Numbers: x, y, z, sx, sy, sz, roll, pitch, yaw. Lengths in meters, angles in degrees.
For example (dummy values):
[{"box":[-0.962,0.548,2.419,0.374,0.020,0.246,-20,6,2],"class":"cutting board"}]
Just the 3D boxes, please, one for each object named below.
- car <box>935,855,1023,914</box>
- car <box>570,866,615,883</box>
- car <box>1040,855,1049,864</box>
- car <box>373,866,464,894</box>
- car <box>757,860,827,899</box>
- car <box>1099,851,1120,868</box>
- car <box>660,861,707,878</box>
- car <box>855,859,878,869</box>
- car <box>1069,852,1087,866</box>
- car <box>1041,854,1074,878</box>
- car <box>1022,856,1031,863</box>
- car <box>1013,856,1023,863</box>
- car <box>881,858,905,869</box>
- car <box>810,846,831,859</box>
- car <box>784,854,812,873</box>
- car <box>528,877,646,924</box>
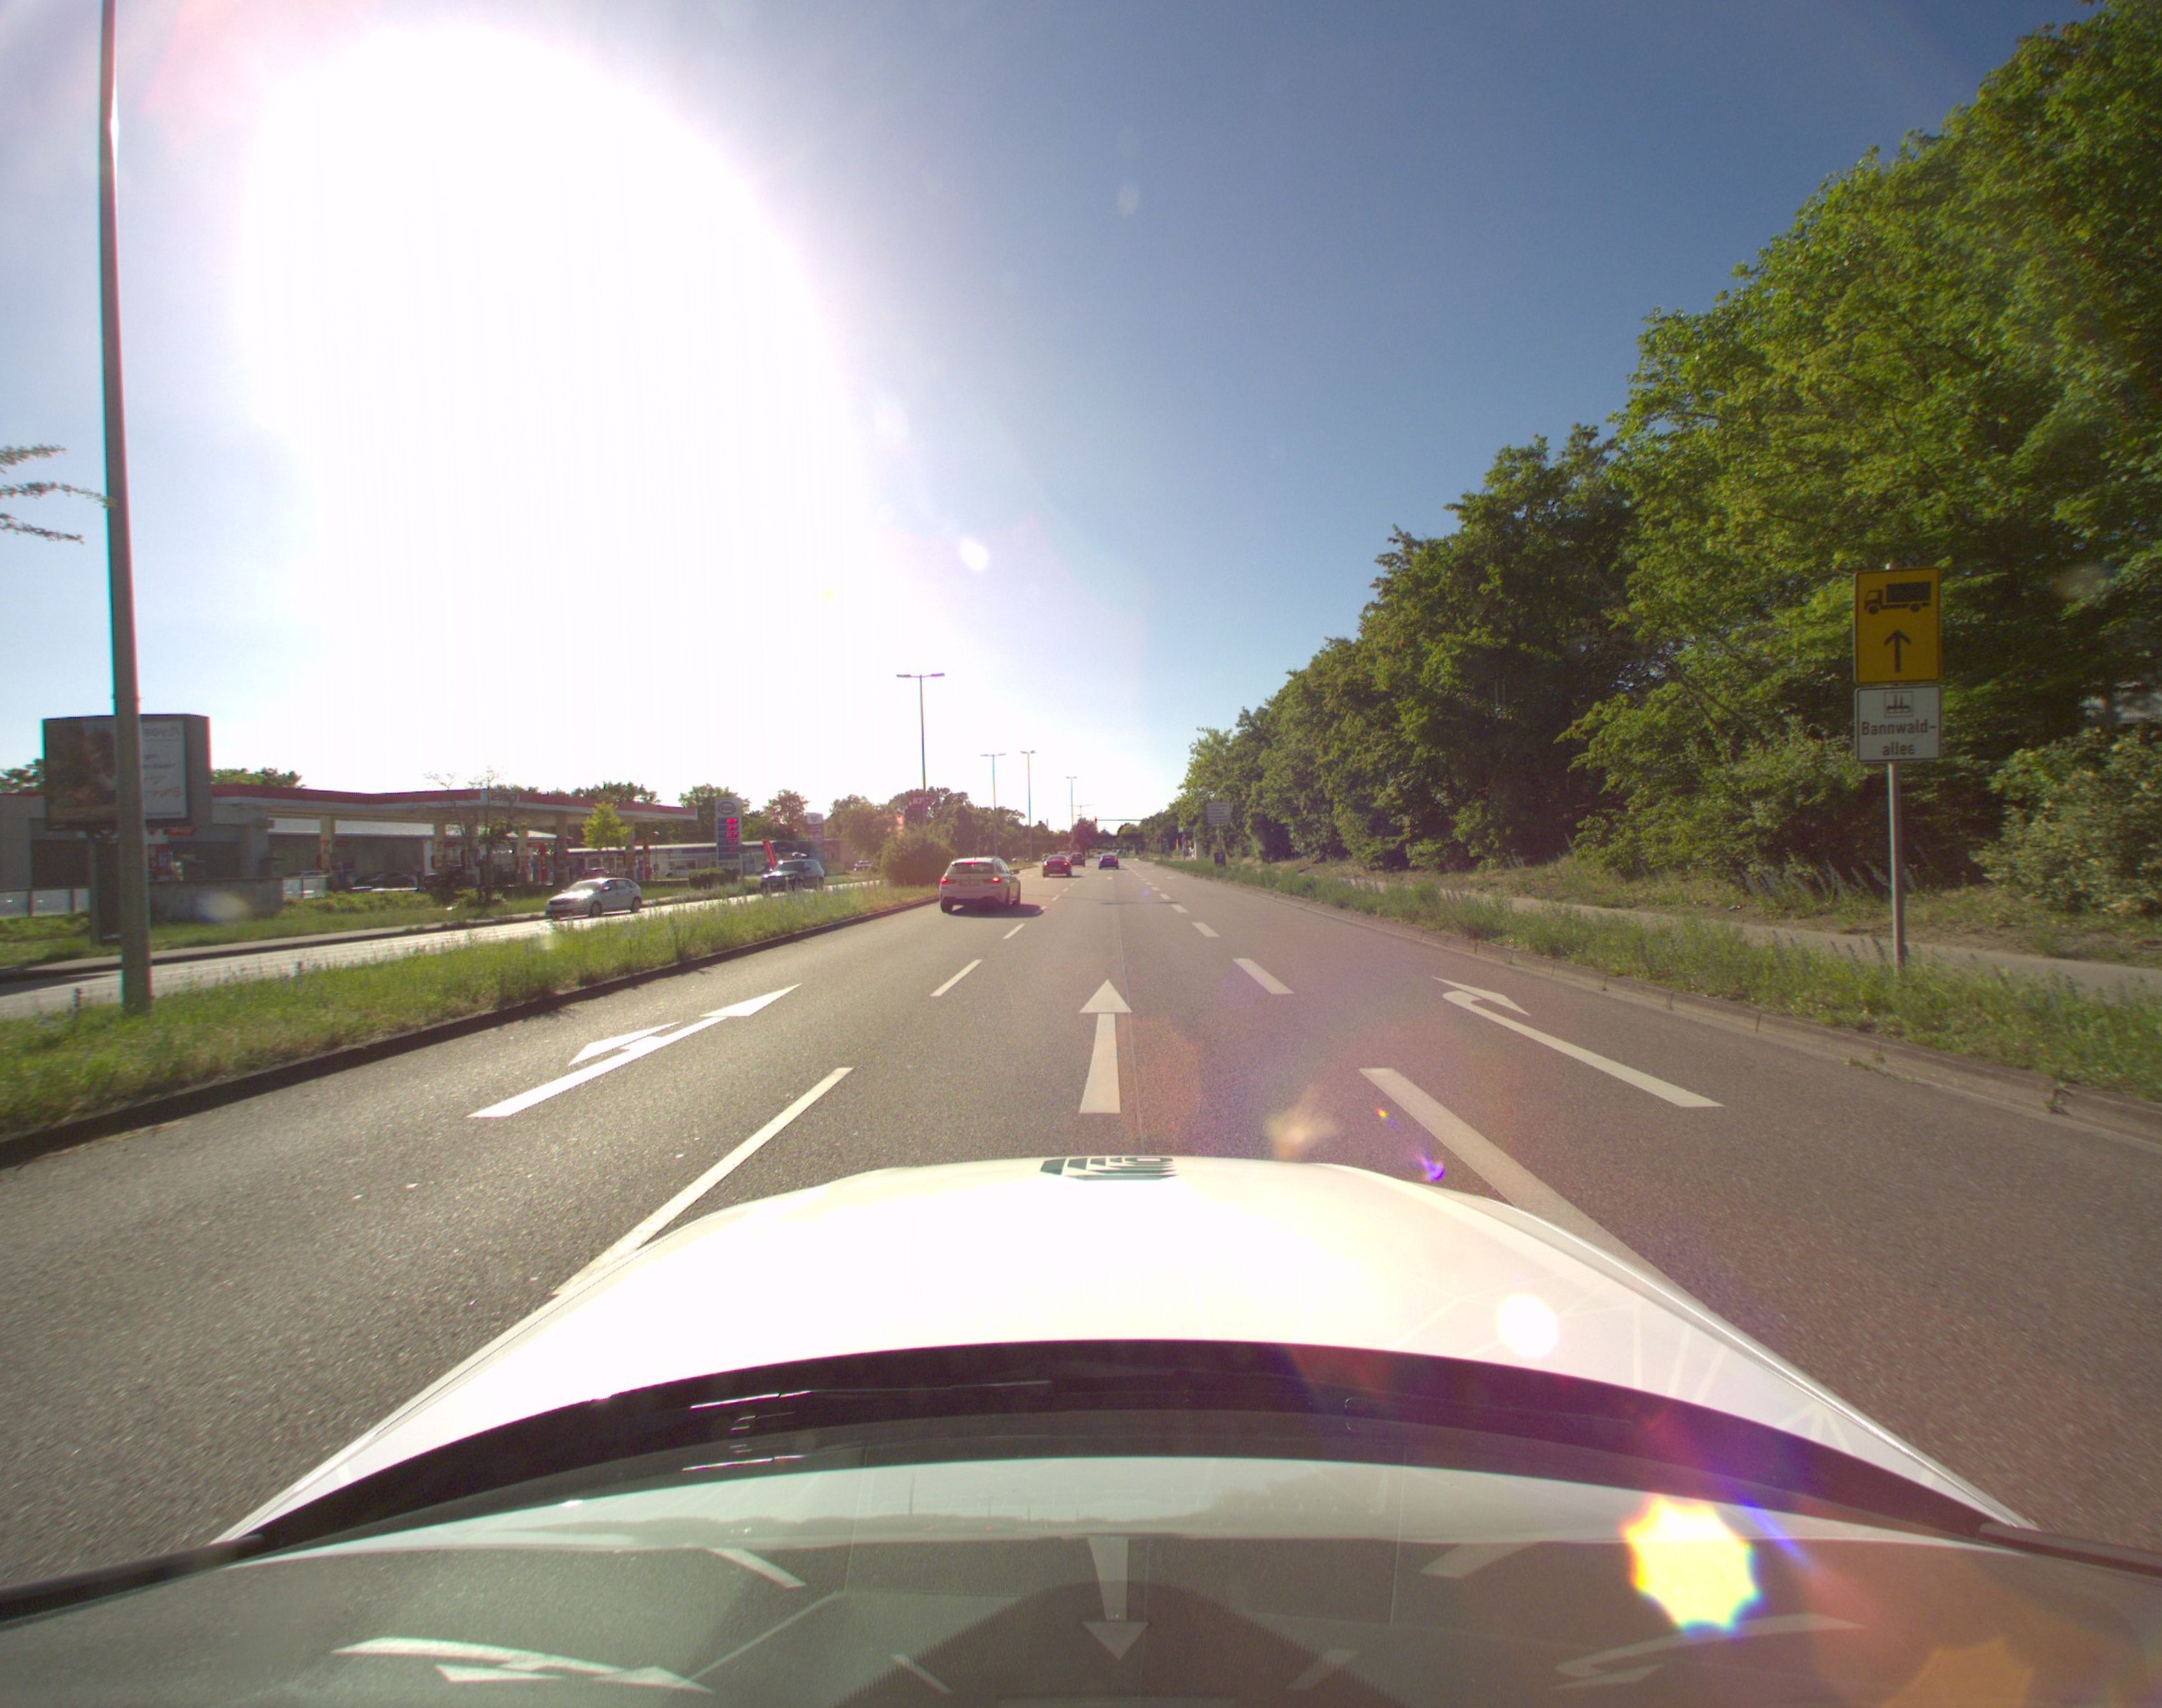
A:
[{"box":[-2.785,0.799,23.248,1.855,1.455,4.548,0,1,1],"class":"car"},{"box":[-49.597,2.106,82.824,1.803,1.550,4.297,-2,0,3],"class":"car"},{"box":[-7.242,1.090,162.792,1.529,1.581,3.673,-2,0,2],"class":"car"},{"box":[-39.647,1.541,48.764,3.964,1.475,2.005,-2,0,8],"class":"car"},{"box":[-15.148,1.291,42.967,1.733,1.802,4.674,-5,0,2],"class":"car"},{"box":[2.714,0.514,77.824,1.855,1.499,4.338,-2,0,2],"class":"car"},{"box":[-46.583,1.760,95.525,4.371,1.842,1.999,-2,0,-1],"class":"car"},{"box":[-37.421,1.749,142.171,4.035,1.783,1.939,-2,0,42],"class":"car"},{"box":[-0.326,0.579,93.112,1.854,1.565,4.549,-1,0,2],"class":"car"},{"box":[-1.515,0.752,54.549,1.855,1.455,4.549,-2,0,2],"class":"car"},{"box":[-12.439,1.241,185.891,1.697,1.402,3.725,-2,0,2],"class":"car"},{"box":[-13.265,1.159,171.750,1.697,1.402,3.725,-2,0,2],"class":"car"},{"box":[-30.892,1.607,133.754,1.938,1.783,4.037,-2,0,-42],"class":"car"},{"box":[-41.133,-0.258,128.491,1.789,2.013,3.747,-2,0,-43],"class":"car"},{"box":[-33.965,1.099,97.787,1.812,2.209,4.001,-2,0,1],"class":"car"},{"box":[-18.848,1.733,31.319,1.733,1.455,4.211,-4,0,2],"class":"car"}]
